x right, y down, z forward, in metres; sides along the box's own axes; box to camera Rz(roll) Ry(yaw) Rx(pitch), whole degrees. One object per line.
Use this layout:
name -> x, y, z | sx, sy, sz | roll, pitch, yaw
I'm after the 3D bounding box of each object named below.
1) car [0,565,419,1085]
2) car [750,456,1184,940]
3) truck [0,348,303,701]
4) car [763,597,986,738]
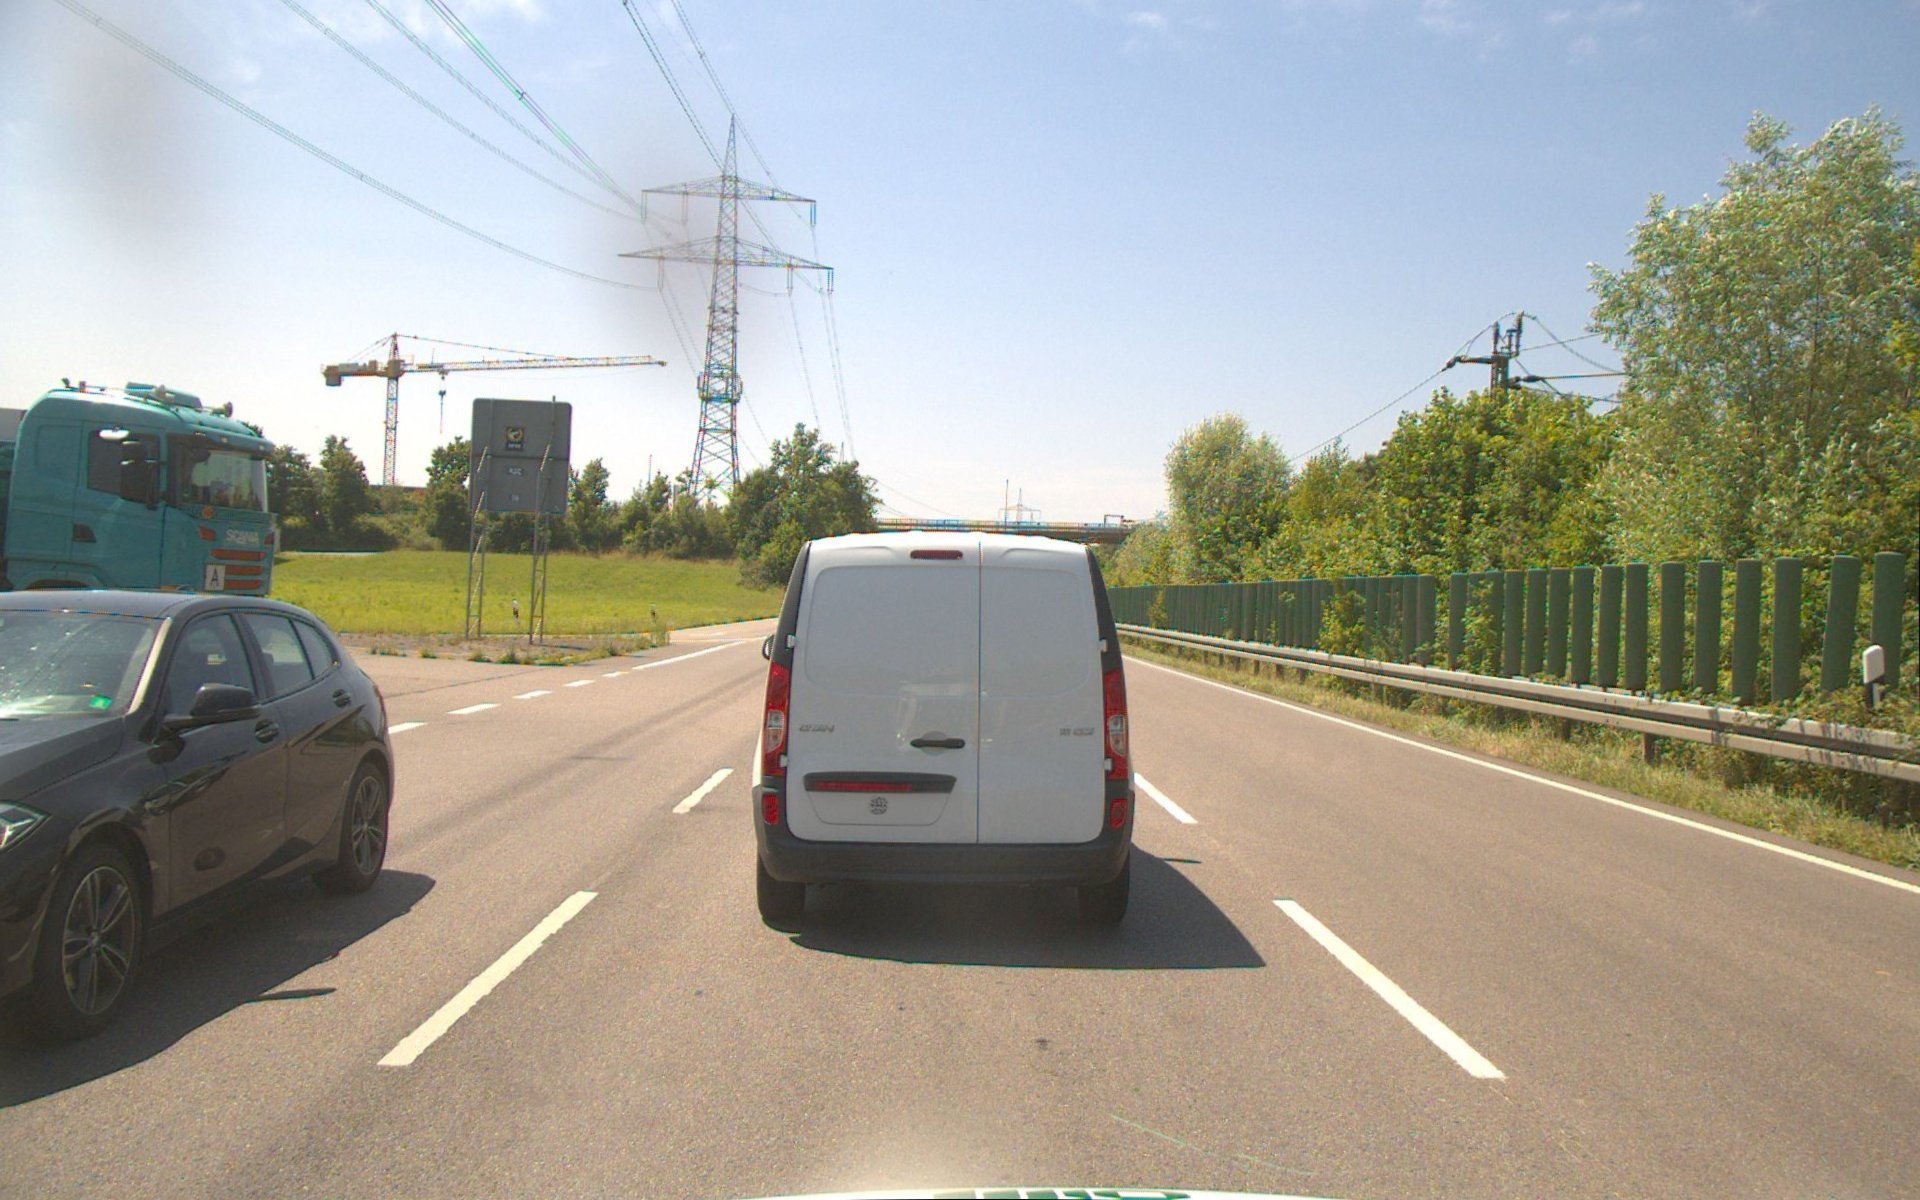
car -> -3.663, 0.633, 6.637 | 1.746, 1.489, 3.999 | 0, 0, -1
car -> -0.016, 0.409, 8.936 | 1.790, 2.005, 3.999 | 1, 0, -2
truck -> -12.347, -1.024, 19.817 | 7.742, 3.799, 2.498 | 4, 0, 1
car -> -1.158, 0.722, 19.782 | 1.824, 1.421, 4.637 | 2, 0, -13
